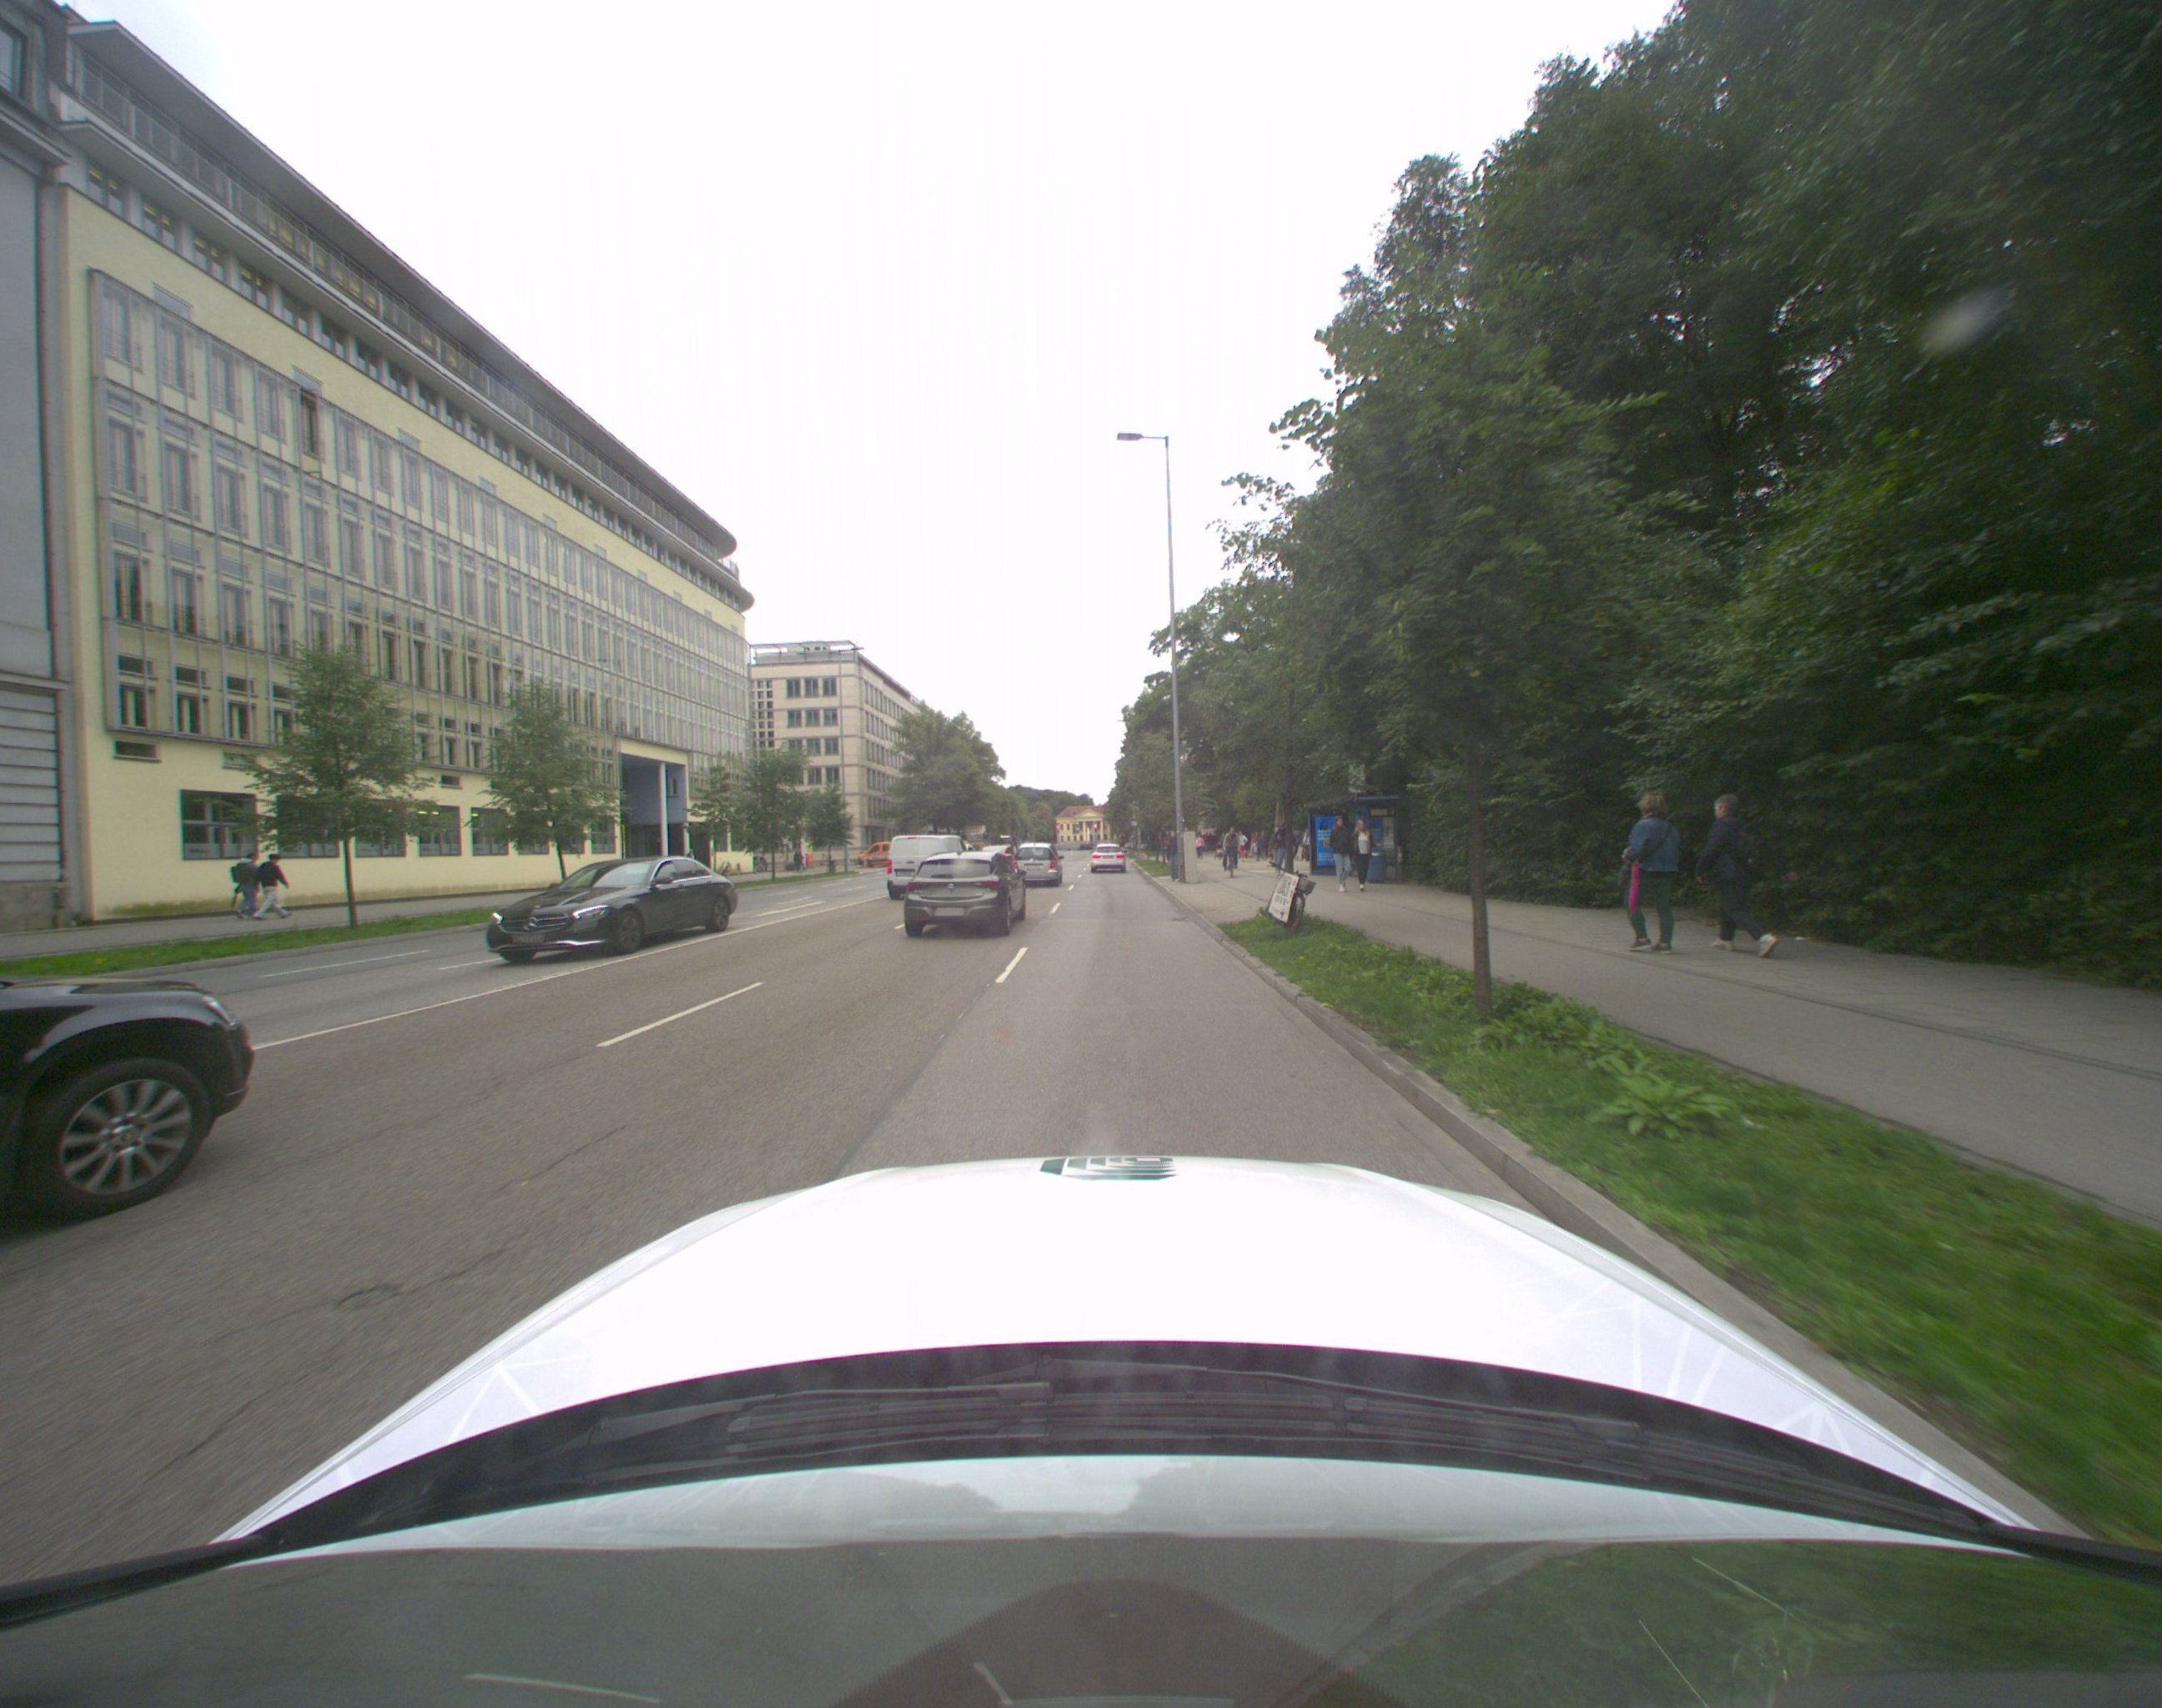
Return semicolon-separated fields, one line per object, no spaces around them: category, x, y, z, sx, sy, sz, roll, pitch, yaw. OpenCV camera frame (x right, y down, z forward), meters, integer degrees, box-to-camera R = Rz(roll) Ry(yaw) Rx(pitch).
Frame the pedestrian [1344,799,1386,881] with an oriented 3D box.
pedestrian;6.832;-0.338;19.634;0.705;1.915;0.957;0;1;1

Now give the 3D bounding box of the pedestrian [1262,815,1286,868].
pedestrian;6.632;-0.442;28.023;0.705;1.808;0.639;0;1;1

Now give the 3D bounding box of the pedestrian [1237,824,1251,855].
pedestrian;9.237;-0.821;46.230;0.722;1.690;0.649;0;1;7

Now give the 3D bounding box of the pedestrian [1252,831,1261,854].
pedestrian;10.247;-0.686;47.576;0.455;1.326;0.649;0;1;7

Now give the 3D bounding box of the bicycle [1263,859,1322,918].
bicycle;3.269;0.504;12.726;0.491;0.794;1.891;0;1;2

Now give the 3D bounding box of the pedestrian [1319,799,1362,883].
pedestrian;6.078;-0.306;19.114;0.705;1.915;0.957;0;1;1

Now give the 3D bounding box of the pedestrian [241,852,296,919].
pedestrian;-22.074;0.848;22.137;0.613;1.776;0.836;0;1;2

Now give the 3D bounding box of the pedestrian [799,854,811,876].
pedestrian;-23.092;0.903;68.090;0.679;1.775;0.785;0;1;6

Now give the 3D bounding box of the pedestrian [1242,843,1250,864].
pedestrian;13.492;-0.059;66.589;0.626;1.666;0.575;0;1;17

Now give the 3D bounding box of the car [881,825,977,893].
car;-4.596;0.102;25.391;1.891;1.847;4.957;-2;1;1

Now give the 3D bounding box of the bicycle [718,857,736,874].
bicycle;-23.161;0.736;53.304;0.571;1.013;1.592;0;1;-2

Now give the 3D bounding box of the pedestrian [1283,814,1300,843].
pedestrian;12.405;-1.517;48.000;0.808;1.690;0.729;-2;1;4

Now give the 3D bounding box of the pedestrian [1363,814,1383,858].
pedestrian;11.799;-0.713;32.950;0.633;1.767;0.533;0;1;4

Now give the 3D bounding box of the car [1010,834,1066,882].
car;-1.553;0.095;30.564;1.773;1.654;4.002;0;1;1

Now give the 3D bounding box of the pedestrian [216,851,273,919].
pedestrian;-22.714;0.825;22.129;0.613;1.776;0.836;0;1;2

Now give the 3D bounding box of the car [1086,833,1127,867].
car;1.258;-0.238;42.325;1.775;1.644;3.996;0;1;-3

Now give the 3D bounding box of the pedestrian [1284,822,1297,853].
pedestrian;11.625;-0.937;45.236;0.589;1.690;0.729;0;1;4

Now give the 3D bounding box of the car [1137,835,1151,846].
car;9.652;-2.061;124.974;1.820;1.549;4.755;-2;1;3

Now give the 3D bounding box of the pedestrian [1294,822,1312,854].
pedestrian;12.380;-0.899;45.447;0.808;1.739;0.729;0;1;4

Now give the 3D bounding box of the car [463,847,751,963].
car;-7.432;0.675;13.490;1.760;1.423;4.750;-3;1;2

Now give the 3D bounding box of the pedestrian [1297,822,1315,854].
pedestrian;12.332;-0.874;44.712;0.808;1.690;0.729;0;1;4

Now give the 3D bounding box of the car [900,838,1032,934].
car;-1.998;0.483;15.248;1.703;1.552;4.003;0;1;3

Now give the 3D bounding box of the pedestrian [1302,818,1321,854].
pedestrian;12.211;-0.943;43.185;0.808;1.874;0.729;0;1;4

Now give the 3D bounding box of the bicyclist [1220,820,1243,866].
bicyclist;5.230;-0.392;28.316;0.705;1.561;0.639;0;1;1

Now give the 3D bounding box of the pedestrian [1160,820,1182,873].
pedestrian;3.097;-0.261;27.990;0.705;1.808;0.639;0;1;1

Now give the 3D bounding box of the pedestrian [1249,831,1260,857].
pedestrian;10.114;-0.576;47.431;0.546;1.527;0.649;0;1;6

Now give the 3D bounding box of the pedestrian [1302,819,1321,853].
pedestrian;12.023;-0.931;42.447;0.808;1.790;0.729;0;1;4

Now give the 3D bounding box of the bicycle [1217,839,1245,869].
bicycle;5.222;-0.021;28.385;0.672;1.030;2.014;0;1;2

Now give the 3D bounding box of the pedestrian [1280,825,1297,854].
pedestrian;12.413;-0.886;48.800;0.808;1.690;0.729;-3;1;4

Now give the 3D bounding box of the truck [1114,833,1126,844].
truck;11.787;-4.721;246.883;3.313;3.366;8.667;0;1;2

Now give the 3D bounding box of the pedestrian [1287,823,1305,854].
pedestrian;12.213;-0.891;46.253;0.808;1.690;0.729;-3;1;4

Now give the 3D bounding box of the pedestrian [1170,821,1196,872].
pedestrian;3.810;-0.280;30.328;0.795;1.880;0.547;0;1;38

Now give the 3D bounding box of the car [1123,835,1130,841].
car;11.724;-4.180;209.785;1.717;1.323;4.031;-2;1;3

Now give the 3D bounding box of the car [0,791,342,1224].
car;-4.974;0.615;2.351;1.716;1.636;4.206;-2;1;1

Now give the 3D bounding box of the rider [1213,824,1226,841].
rider;9.241;-1.449;54.248;0.761;1.112;1.246;0;1;6

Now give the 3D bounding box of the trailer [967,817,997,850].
trailer;-11.928;-2.461;99.150;2.944;3.739;11.755;0;1;-4

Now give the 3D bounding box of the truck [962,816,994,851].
truck;-11.538;-2.293;91.657;2.909;3.774;7.660;0;1;-2

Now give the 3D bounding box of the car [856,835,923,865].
car;-17.792;-0.419;75.966;5.666;2.536;2.155;-2;1;-3

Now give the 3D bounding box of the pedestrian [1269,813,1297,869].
pedestrian;6.651;-0.440;26.887;0.705;1.808;0.950;0;1;1

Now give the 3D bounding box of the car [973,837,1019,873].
car;-4.096;-0.003;39.815;1.773;1.654;4.000;0;1;0

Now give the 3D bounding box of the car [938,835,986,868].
car;-6.879;-0.188;47.563;1.850;1.748;4.633;-3;1;2

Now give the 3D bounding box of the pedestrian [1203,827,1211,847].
pedestrian;11.798;-1.589;76.347;0.585;1.822;0.850;0;1;2

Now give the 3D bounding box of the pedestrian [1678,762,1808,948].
pedestrian;6.823;0.006;8.437;0.748;1.838;0.757;0;1;2

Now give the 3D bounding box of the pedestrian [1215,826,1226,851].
pedestrian;9.489;-1.083;55.411;0.722;1.690;0.649;0;1;6

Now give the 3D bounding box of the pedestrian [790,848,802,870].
pedestrian;-23.837;0.410;68.100;0.679;1.775;0.675;0;1;6

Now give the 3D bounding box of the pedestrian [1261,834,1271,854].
pedestrian;10.709;-0.569;47.127;0.455;1.153;0.649;0;1;7

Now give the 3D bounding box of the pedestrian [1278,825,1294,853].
pedestrian;12.545;-0.935;49.781;0.808;1.690;0.729;0;1;4

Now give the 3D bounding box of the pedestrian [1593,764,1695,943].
pedestrian;5.994;-0.006;8.703;0.668;1.838;0.641;0;1;2

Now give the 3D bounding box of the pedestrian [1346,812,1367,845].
pedestrian;12.750;-1.164;37.704;0.808;1.507;0.729;0;1;4
